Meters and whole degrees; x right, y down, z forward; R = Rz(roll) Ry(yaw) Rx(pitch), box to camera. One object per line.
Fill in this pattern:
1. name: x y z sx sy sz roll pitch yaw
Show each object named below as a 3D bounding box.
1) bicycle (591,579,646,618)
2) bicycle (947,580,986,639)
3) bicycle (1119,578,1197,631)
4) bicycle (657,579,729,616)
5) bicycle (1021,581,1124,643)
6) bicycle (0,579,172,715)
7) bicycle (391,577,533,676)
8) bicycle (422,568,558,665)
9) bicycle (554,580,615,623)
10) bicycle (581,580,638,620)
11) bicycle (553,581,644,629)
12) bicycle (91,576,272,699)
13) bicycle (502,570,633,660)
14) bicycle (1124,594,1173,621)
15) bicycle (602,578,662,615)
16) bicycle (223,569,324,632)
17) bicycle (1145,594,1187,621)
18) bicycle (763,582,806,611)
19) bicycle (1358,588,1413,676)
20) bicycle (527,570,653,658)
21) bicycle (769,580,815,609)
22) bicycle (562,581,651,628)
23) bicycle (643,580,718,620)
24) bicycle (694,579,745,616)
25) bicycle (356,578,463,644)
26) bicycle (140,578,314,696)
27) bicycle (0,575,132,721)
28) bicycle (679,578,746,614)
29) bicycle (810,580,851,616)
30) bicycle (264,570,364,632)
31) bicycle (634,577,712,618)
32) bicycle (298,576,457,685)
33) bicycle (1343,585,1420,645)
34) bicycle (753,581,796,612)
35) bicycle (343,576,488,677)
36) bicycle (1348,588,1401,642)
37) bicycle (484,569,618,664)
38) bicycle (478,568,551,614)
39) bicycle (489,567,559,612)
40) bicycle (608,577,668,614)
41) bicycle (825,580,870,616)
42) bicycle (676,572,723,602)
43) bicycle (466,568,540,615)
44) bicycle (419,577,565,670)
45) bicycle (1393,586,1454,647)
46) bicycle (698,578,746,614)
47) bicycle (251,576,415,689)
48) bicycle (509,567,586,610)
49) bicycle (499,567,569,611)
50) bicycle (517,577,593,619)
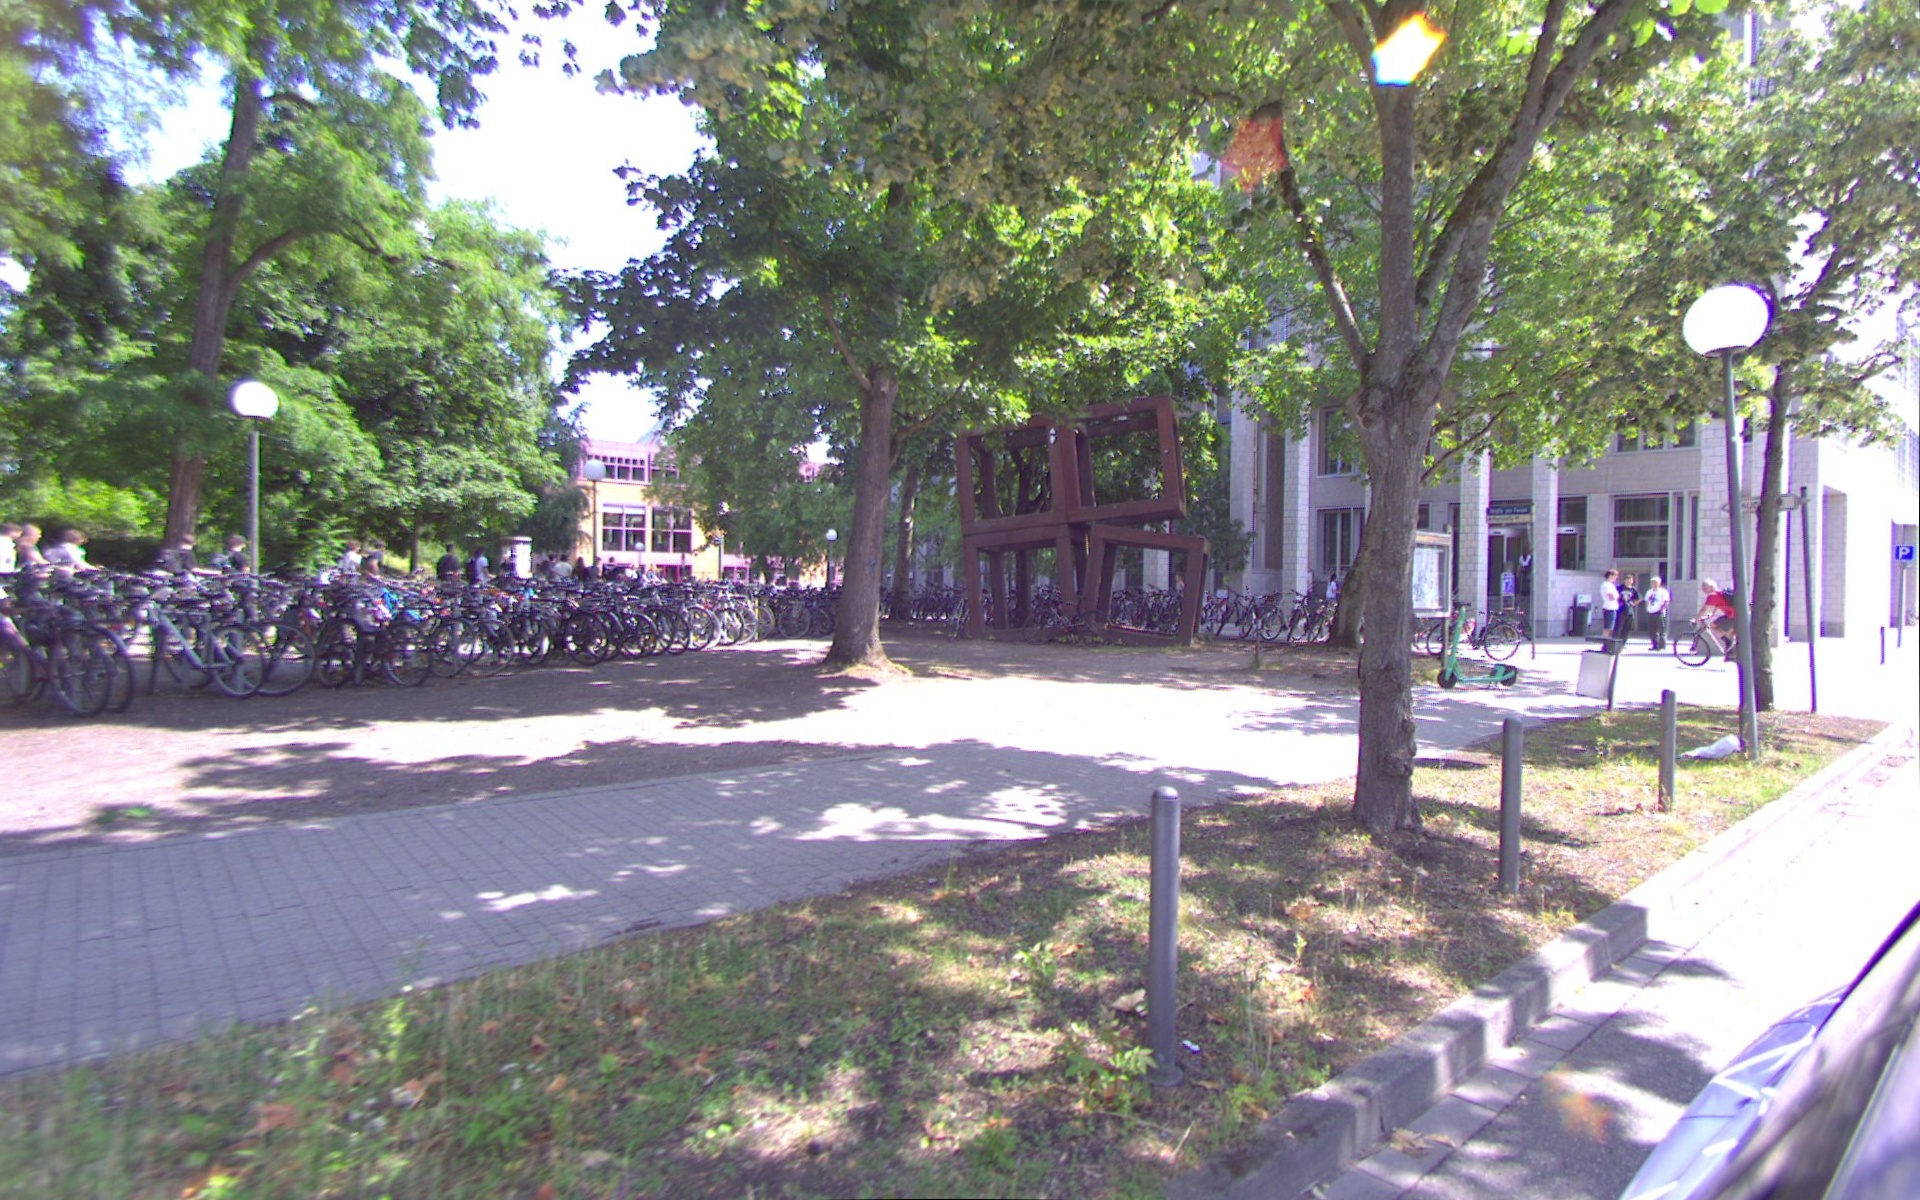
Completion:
1. bicycle: -9.748 -0.035 28.872 1.444 1.098 0.352 0 -2 0
2. bicycle: 0.147 0.165 20.355 0.468 1.123 1.665 1 2 12
3. bicycle: 4.334 0.107 22.093 1.792 1.091 0.464 2 1 -33
4. bicycle: -7.468 -0.076 28.336 1.867 0.991 0.479 1 2 0
5. bicycle: 2.135 0.210 19.189 1.895 1.123 0.630 1 2 13
6. bicycle: -7.478 0.363 8.489 1.773 1.041 0.438 2 1 18
7. bicycle: -5.921 0.292 12.017 1.772 1.083 0.423 2 1 22
8. bicycle: -6.134 0.196 13.201 1.768 1.185 0.401 2 1 16
9. bicycle: -9.716 0.031 26.208 1.442 1.098 0.353 0 -2 -6
10. bicycle: -9.738 0.001 28.149 1.444 1.098 0.352 0 -2 0
11. bicycle: -7.974 0.101 22.341 1.871 0.991 0.478 2 2 6
12. bicycle: -7.199 0.320 9.348 1.769 1.041 0.380 2 1 18
13. bicycle: -5.480 0.191 14.111 1.819 1.185 0.401 2 1 16
14. bicycle: 6.663 0.260 35.803 1.739 0.911 0.449 1 0 -23
15. bicycle: -9.827 -0.111 30.334 1.658 1.098 0.478 0 -2 4
16. bicycle: -11.642 -0.008 17.154 1.880 0.991 0.376 2 2 20
17. bicycle: 7.145 0.252 35.115 1.743 0.911 0.337 -1 0 -36
18. bicycle: -6.815 -0.125 39.337 0.527 1.098 1.661 -2 -2 44
19. bicycle: 6.062 0.424 14.369 0.622 1.097 1.674 -1 2 26
20. bicycle: -5.290 0.183 14.442 1.819 1.185 0.344 2 1 16
21. bicycle: -6.419 -0.205 38.693 1.654 1.098 0.529 1 -2 -31
22. bicycle: -7.934 0.089 22.726 1.871 0.991 0.478 2 2 6
23. bicycle: -7.417 -0.003 26.871 1.867 0.991 0.479 1 2 0
24. bicycle: -7.279 -0.067 30.673 1.442 1.098 0.479 0 -2 -8
25. bicycle: -9.024 0.163 16.565 1.880 0.991 0.376 2 2 20
26. bicycle: -7.003 0.327 9.659 1.769 1.041 0.379 2 1 18
27. bicycle: -7.473 0.341 7.996 1.712 1.065 0.492 2 1 13
28. bicycle: -7.220 -0.117 29.515 1.874 0.991 0.477 2 2 12
29. bicycle: -4.067 -0.072 31.831 0.350 1.097 1.453 1 1 36
30. bicycle: -11.117 0.006 17.410 1.880 0.991 0.376 2 2 20
31. bicycle: -7.336 -0.070 25.902 1.870 0.991 0.478 2 2 5
32. bicycle: -6.263 0.300 10.867 1.770 1.083 0.424 2 1 20
33. bicycle: 8.650 0.306 20.762 1.494 1.155 0.493 3 1 -22
34. bicycle: -7.321 -0.132 39.915 0.549 1.165 1.661 -2 -2 44
35. bicycle: -6.322 0.282 11.734 1.772 1.083 0.423 2 1 22
36. bicycle: 8.823 0.320 21.503 1.416 1.099 0.460 2 1 -44
37. bicycle: -5.424 0.205 13.419 1.768 1.185 0.401 2 1 16
38. bicycle: -10.190 -0.213 23.138 1.571 0.991 0.403 2 2 10
39. bicycle: -10.277 -0.253 23.855 1.571 0.991 0.403 2 2 10
40. bicycle: -9.794 -0.133 30.813 1.658 1.098 0.478 0 -2 4
41. bicycle: -3.460 -0.070 31.156 1.448 1.097 0.352 0 1 -45
42. bicycle: -9.759 -0.483 37.955 1.655 1.098 0.479 0 -2 -4
43. bicycle: -10.265 -0.197 22.736 1.571 0.991 0.403 2 2 10
44. bicycle: -5.851 0.274 12.646 1.766 1.083 0.425 2 1 14
45. bicycle: 9.349 0.334 20.395 1.465 1.155 0.560 2 1 -44
46. bicycle: -7.475 -0.116 31.813 1.450 1.098 0.451 0 -2 15
47. bicycle: -6.505 0.309 10.489 1.770 1.083 0.424 2 1 20
48. bicycle: -10.172 -0.294 24.971 1.769 0.991 0.378 2 1 3
49. bicycle: -10.206 -0.264 24.244 1.571 0.991 0.403 2 2 10
50. bicycle: -10.152 -0.044 25.356 1.769 0.991 0.378 2 1 3
